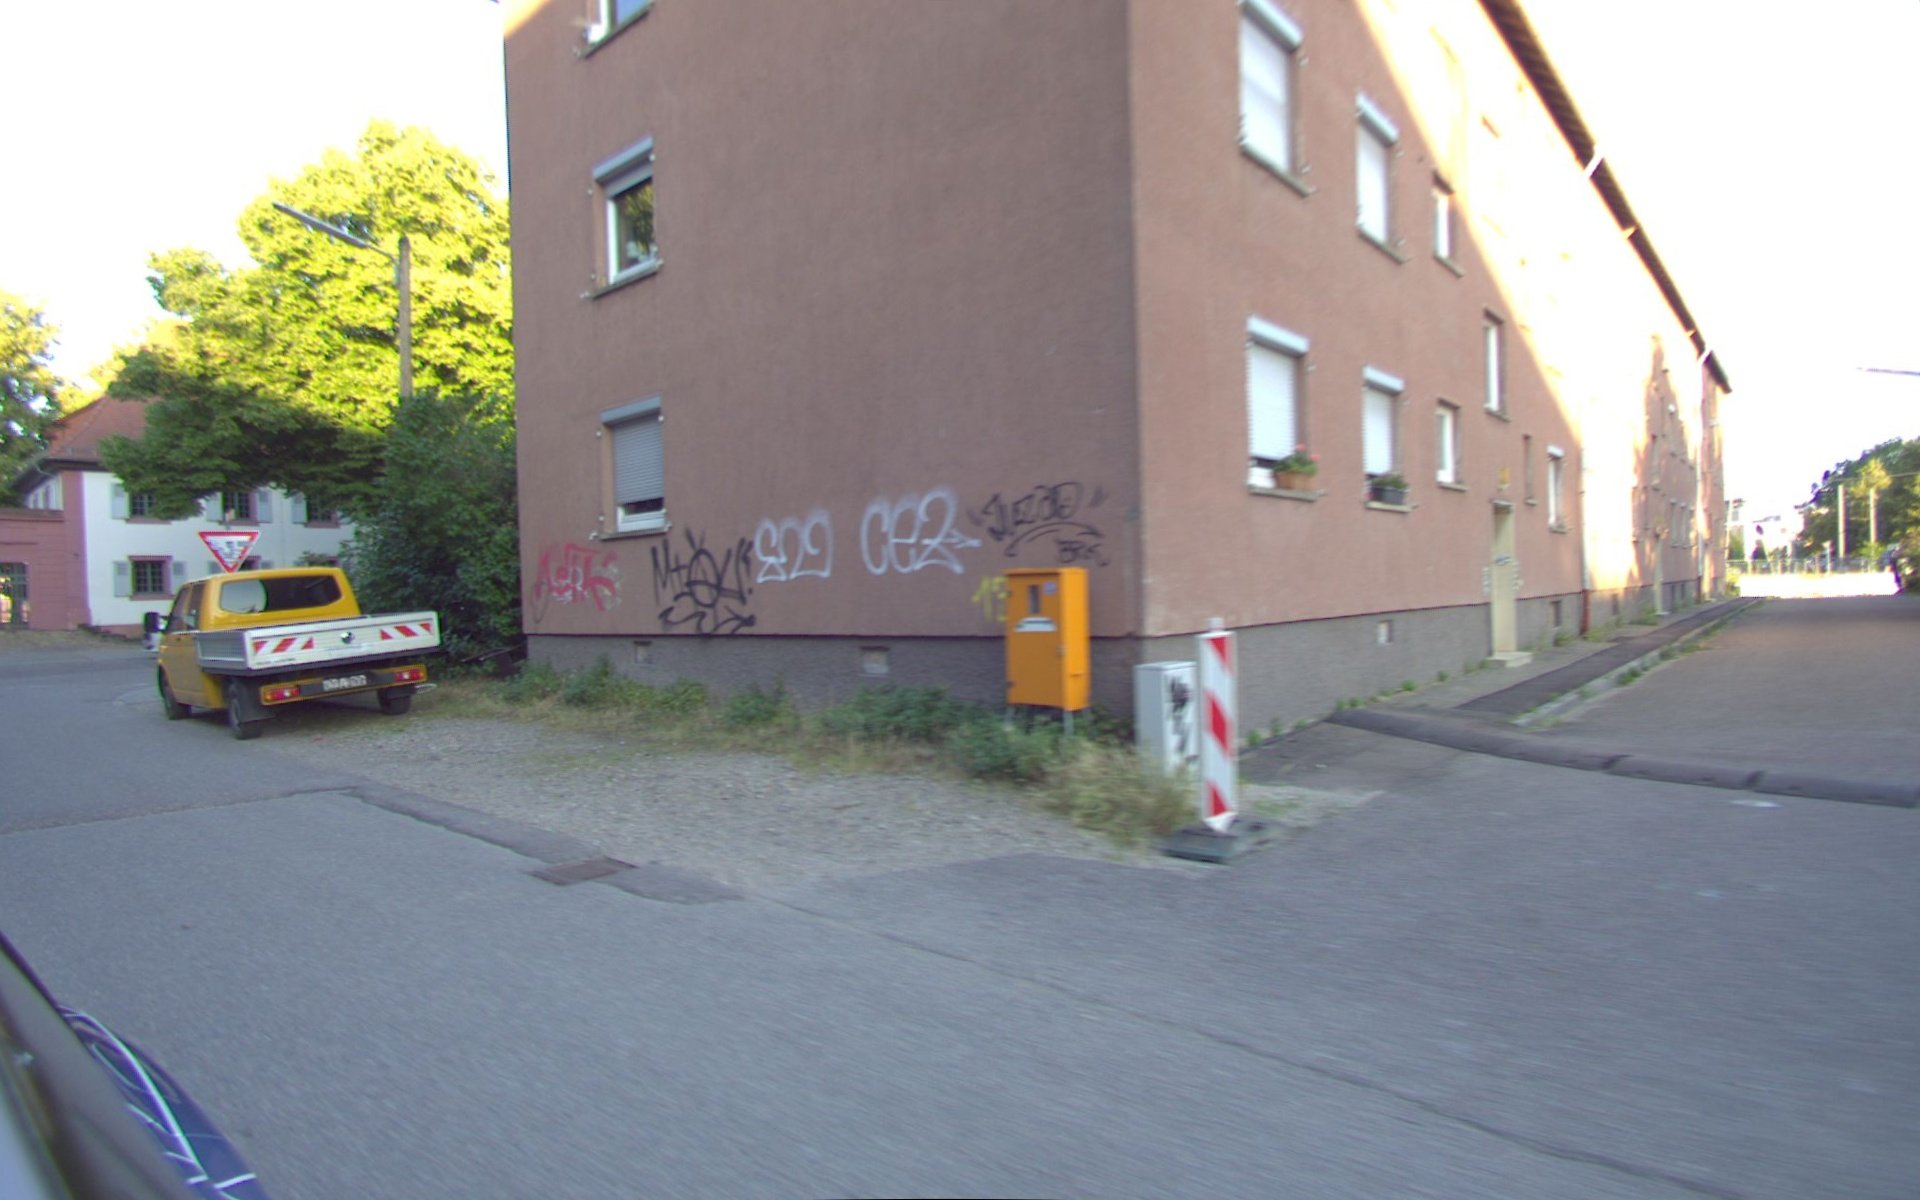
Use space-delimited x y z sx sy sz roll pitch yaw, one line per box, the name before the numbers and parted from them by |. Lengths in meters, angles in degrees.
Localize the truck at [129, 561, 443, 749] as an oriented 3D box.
truck | -8.984 0.565 13.227 5.659 1.927 2.013 0 2 42
